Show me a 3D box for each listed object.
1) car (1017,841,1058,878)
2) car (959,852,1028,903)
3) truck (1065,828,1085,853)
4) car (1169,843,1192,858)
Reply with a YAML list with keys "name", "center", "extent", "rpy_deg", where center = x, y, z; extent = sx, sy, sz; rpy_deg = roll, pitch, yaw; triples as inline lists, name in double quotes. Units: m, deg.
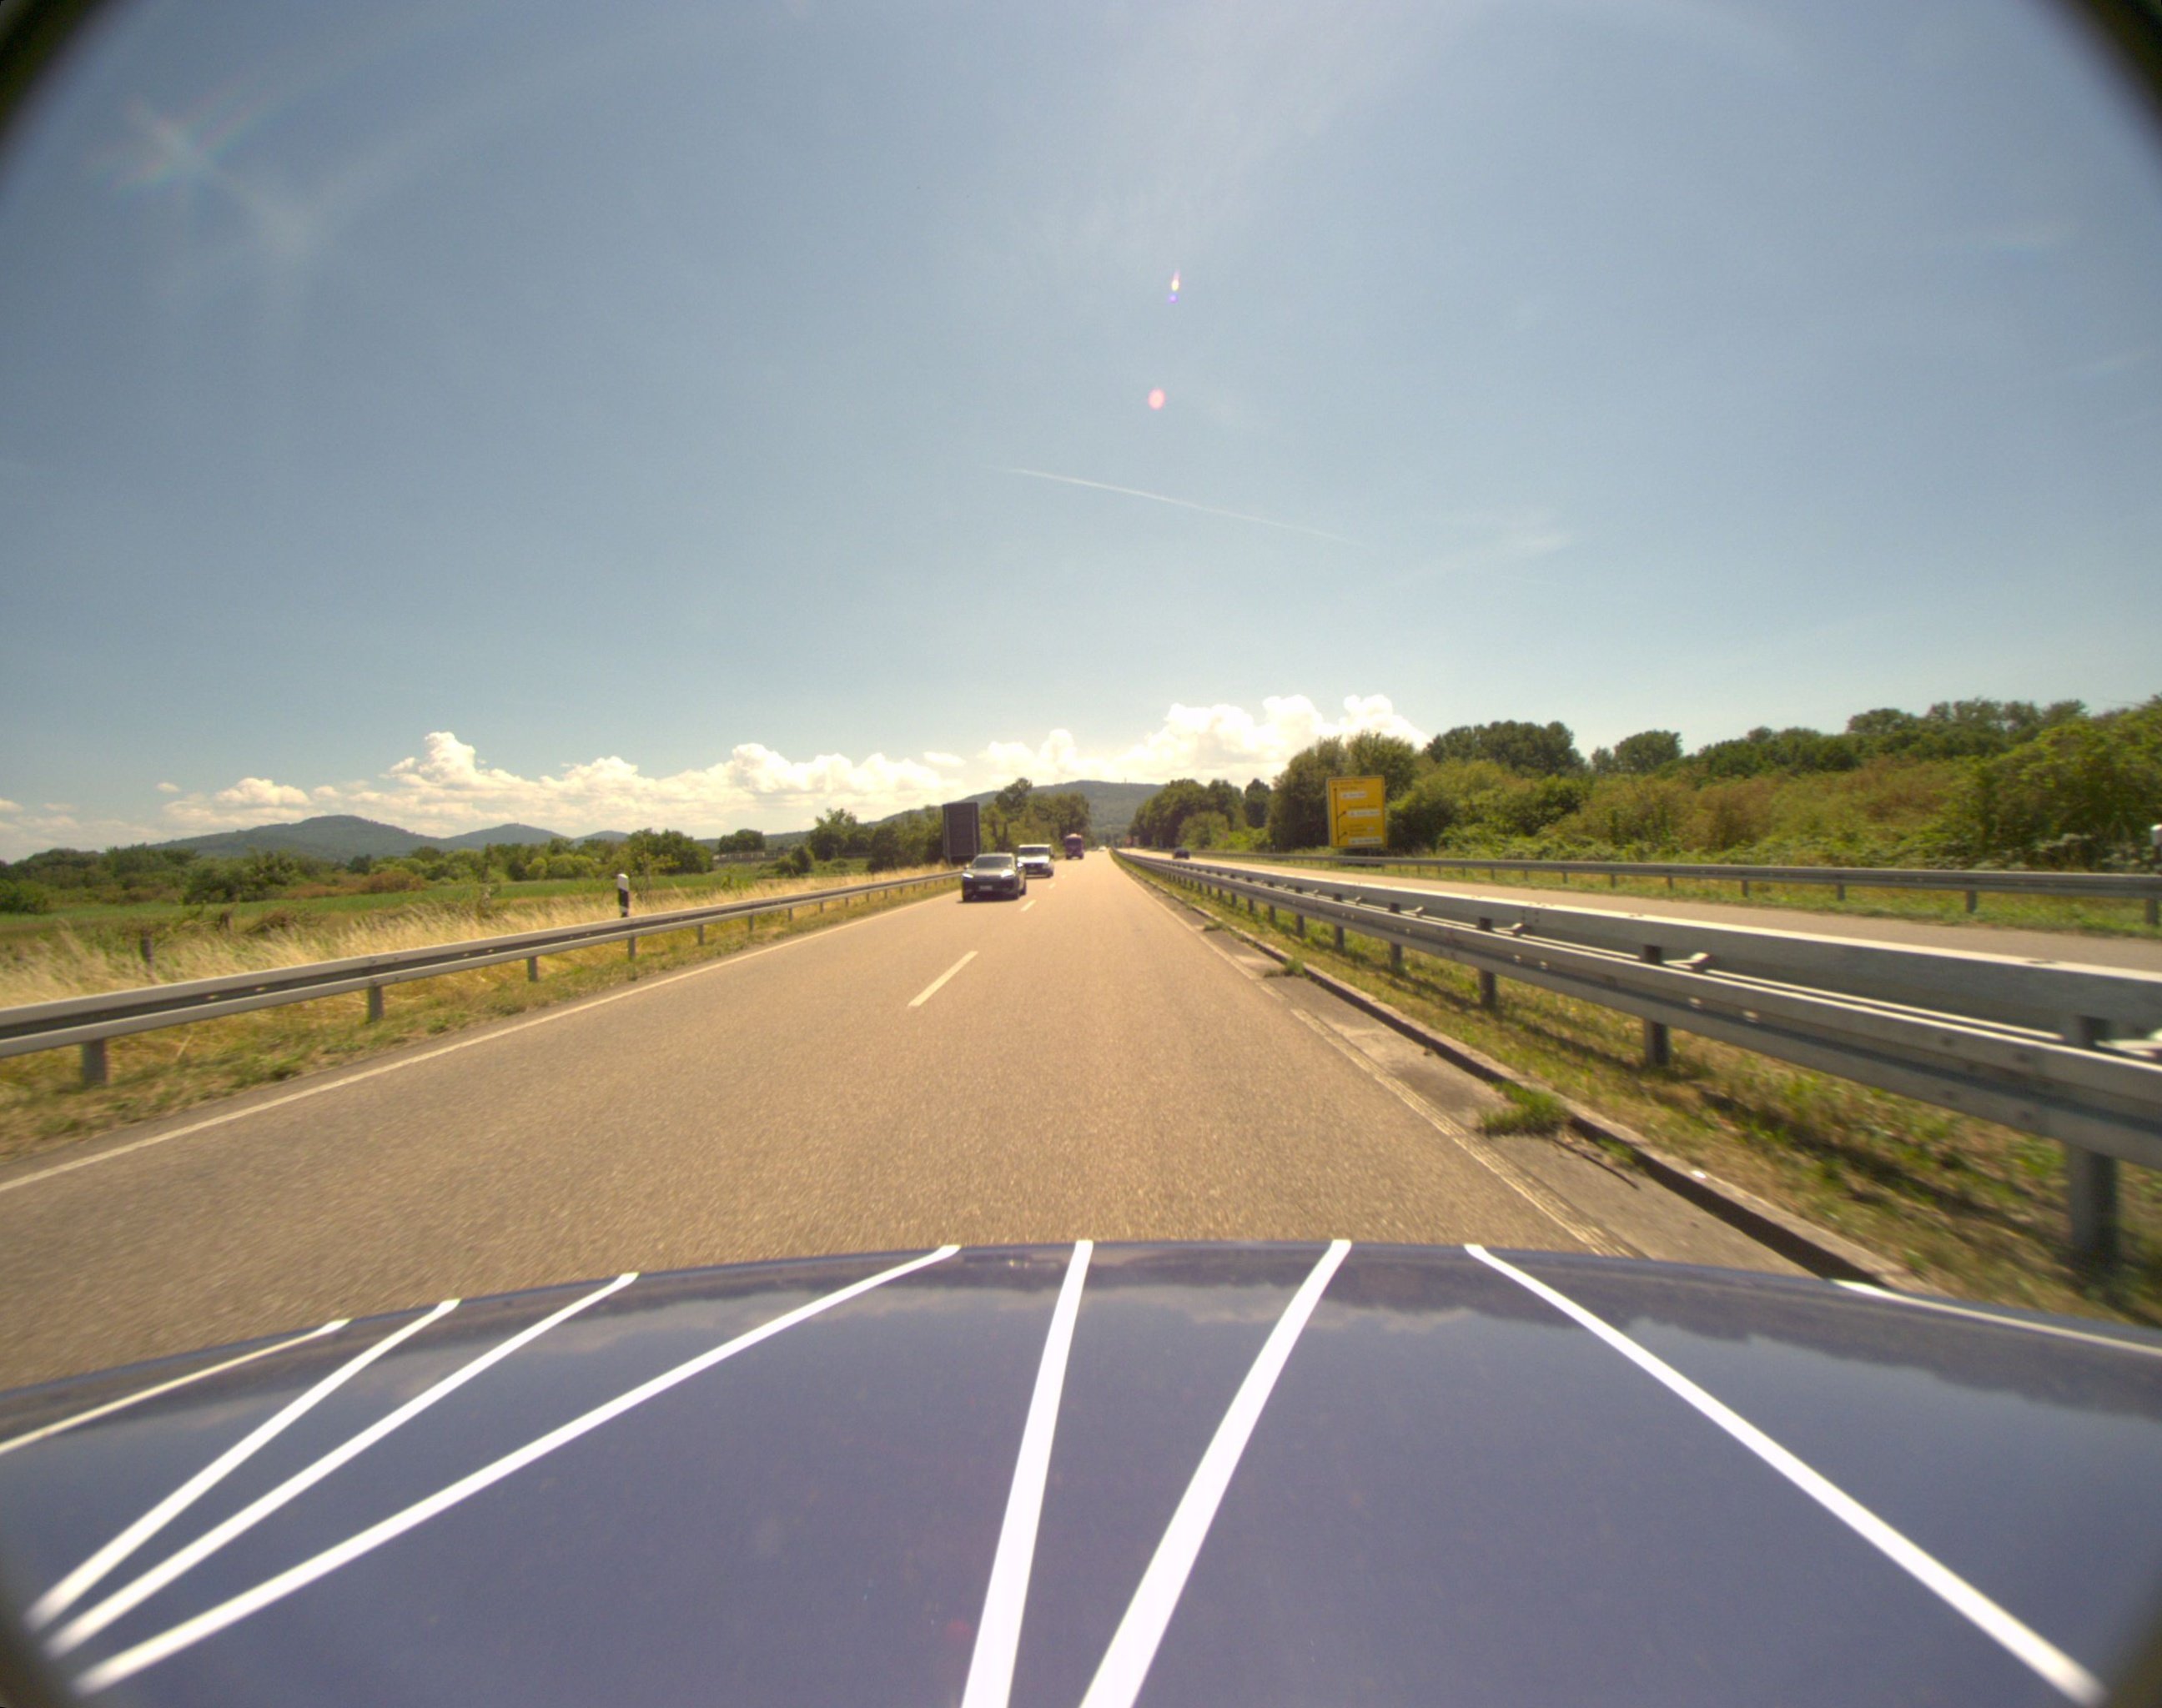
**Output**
- name: "car"
  center: [-2.565, 0.293, 45.550]
  extent: [2.011, 1.977, 5.034]
  rpy_deg: [-3, 0, 1]
- name: "car"
  center: [-2.901, 0.737, 25.874]
  extent: [1.789, 1.544, 4.019]
  rpy_deg: [-1, 0, 1]
- name: "truck"
  center: [-0.881, -1.967, 115.838]
  extent: [2.604, 3.670, 5.939]
  rpy_deg: [-2, 0, 2]
- name: "car"
  center: [11.844, -0.398, 90.710]
  extent: [1.998, 1.627, 4.873]
  rpy_deg: [-5, 0, 2]
